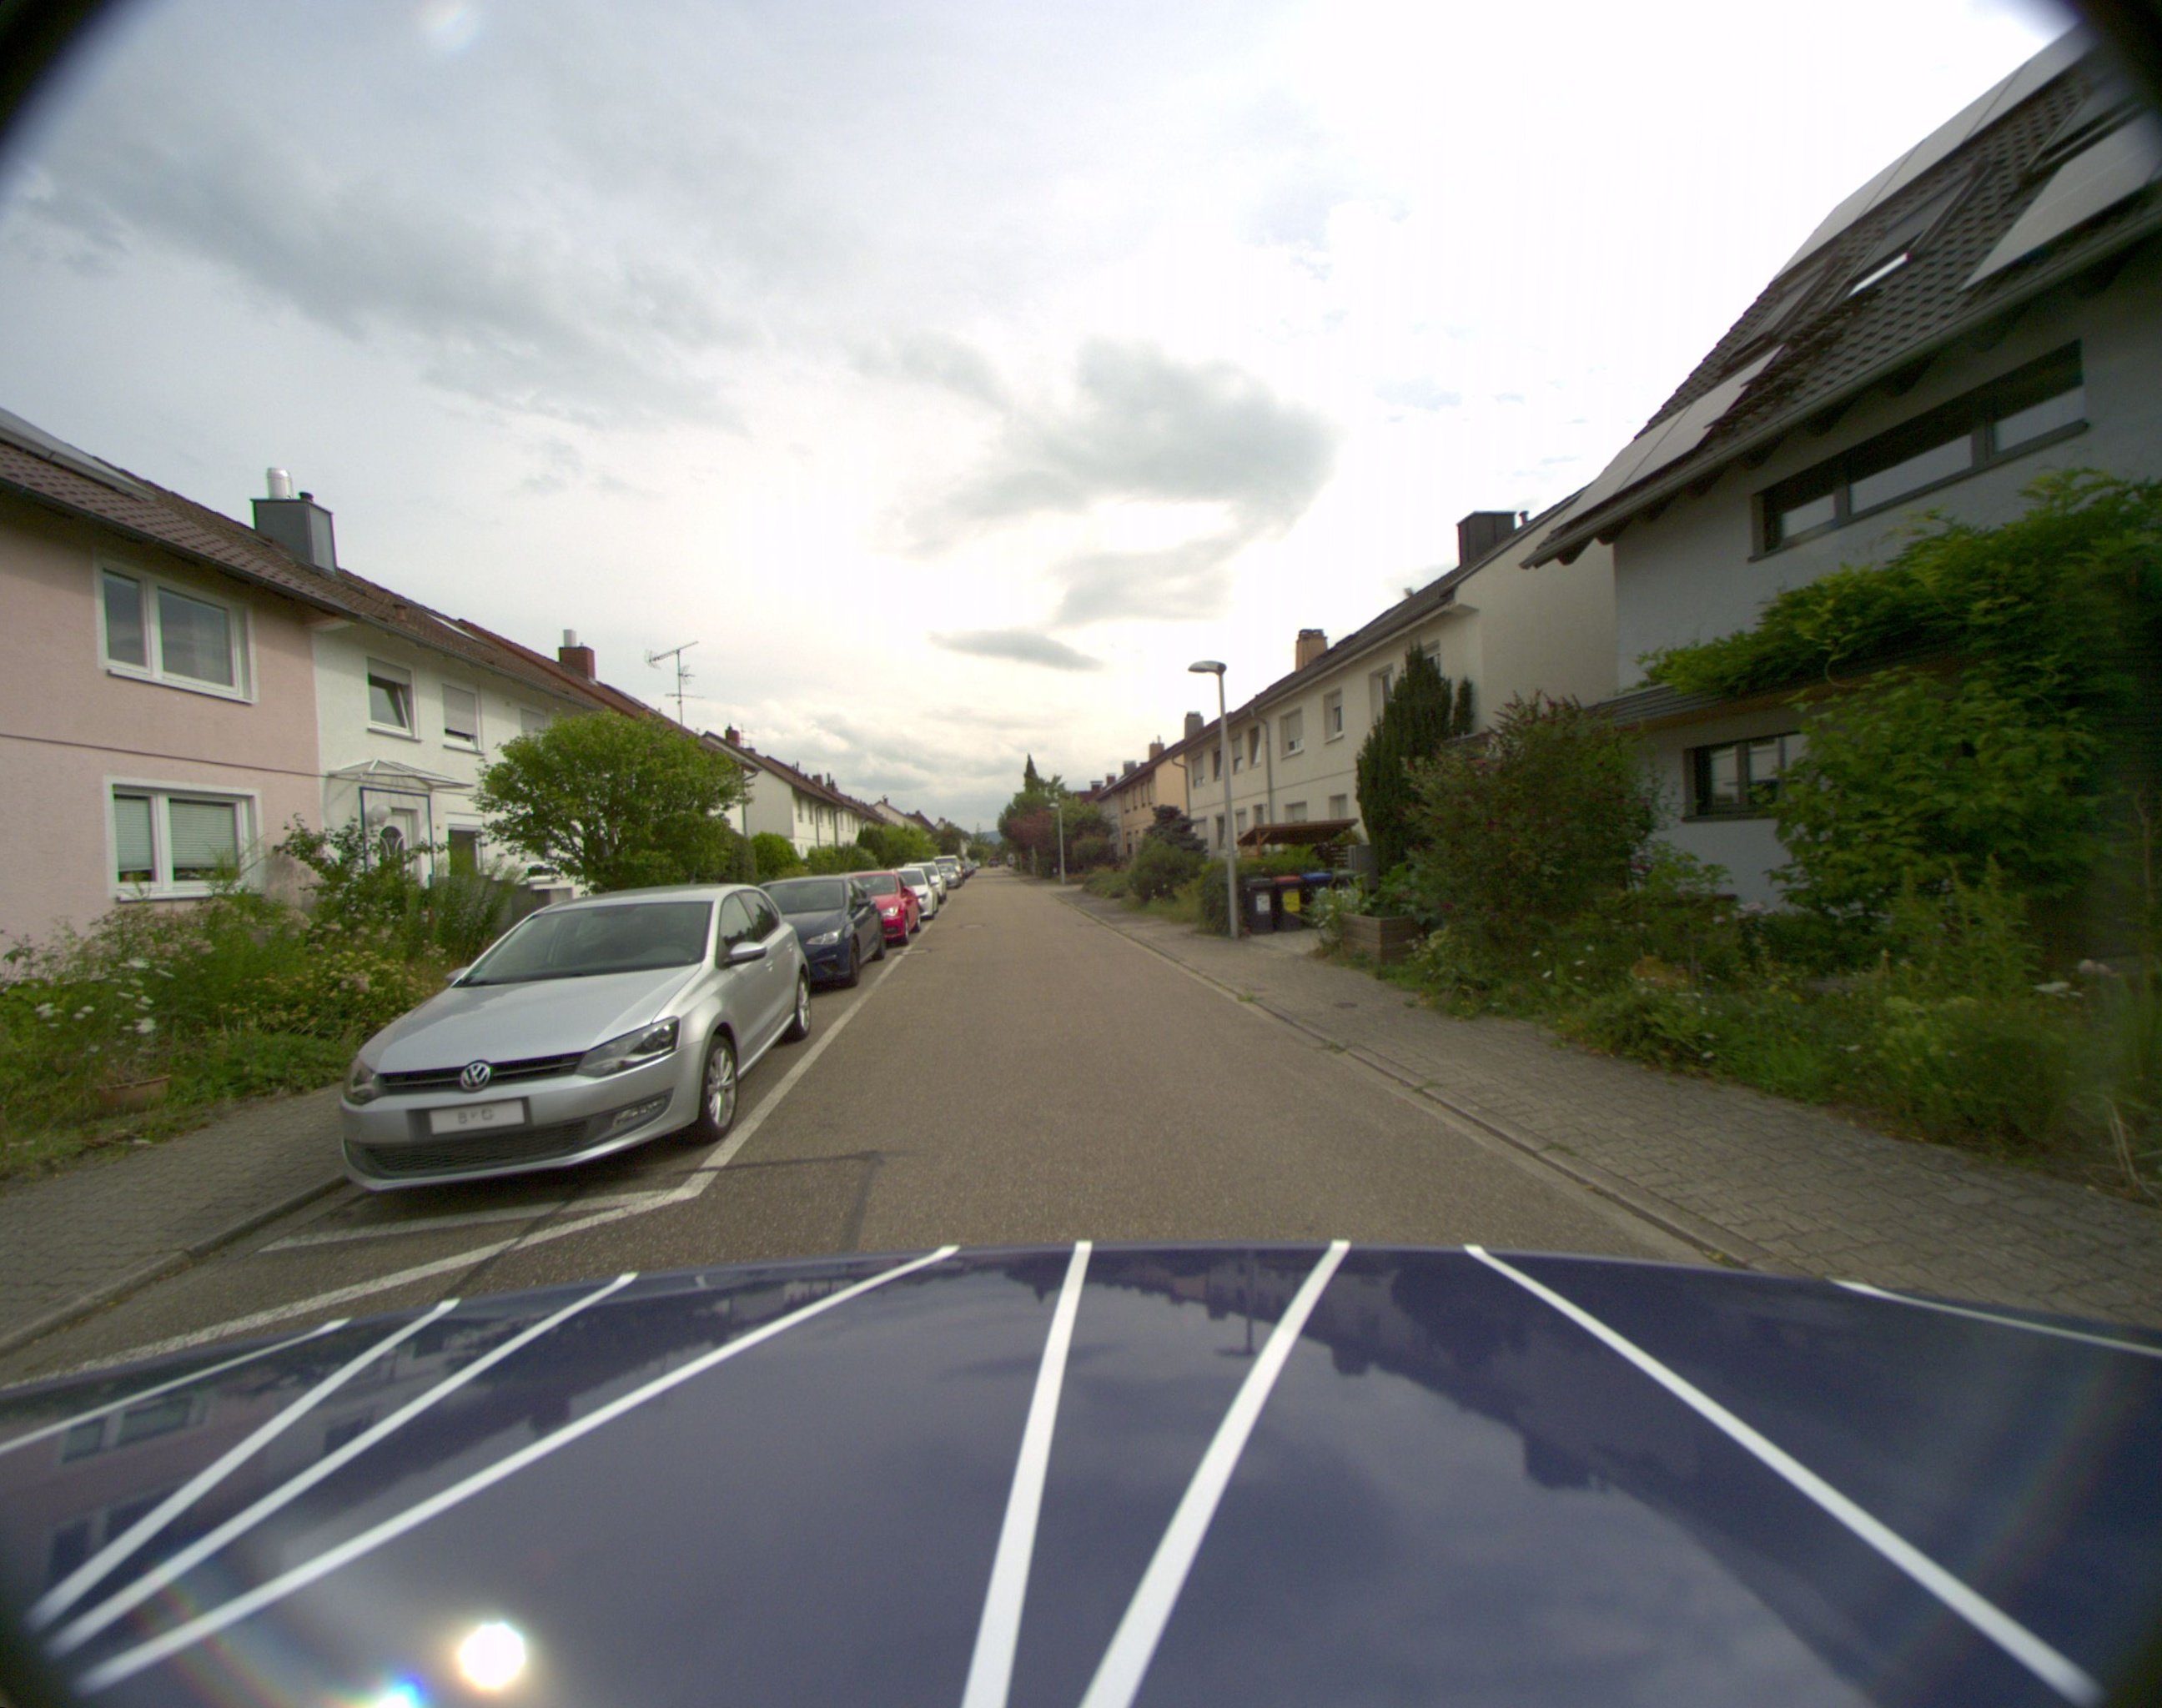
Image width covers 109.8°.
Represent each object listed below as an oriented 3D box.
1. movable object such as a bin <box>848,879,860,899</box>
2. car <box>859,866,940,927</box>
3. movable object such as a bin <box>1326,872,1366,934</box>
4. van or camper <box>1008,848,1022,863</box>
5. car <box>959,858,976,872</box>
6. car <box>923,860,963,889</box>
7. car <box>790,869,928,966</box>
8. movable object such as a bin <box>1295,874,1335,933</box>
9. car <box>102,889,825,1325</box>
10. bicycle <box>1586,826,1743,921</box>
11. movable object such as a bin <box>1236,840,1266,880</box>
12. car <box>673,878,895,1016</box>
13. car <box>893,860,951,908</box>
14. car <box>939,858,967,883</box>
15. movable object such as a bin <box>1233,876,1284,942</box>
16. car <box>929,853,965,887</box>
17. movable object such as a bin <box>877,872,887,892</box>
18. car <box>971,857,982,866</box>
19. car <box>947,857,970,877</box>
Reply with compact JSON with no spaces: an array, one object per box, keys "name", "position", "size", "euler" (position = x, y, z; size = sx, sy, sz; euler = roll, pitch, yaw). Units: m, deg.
[{"name":"movable object such as a bin","position":[-10.701,1.646,35.799],"size":[0.432,0.916,0.464],"euler":[-4,1,-12]},{"name":"car","position":[-4.974,1.097,21.421],"size":[1.844,1.404,4.633],"euler":[-2,0,-9]},{"name":"movable object such as a bin","position":[4.454,0.818,12.788],"size":[0.449,0.998,0.467],"euler":[-2,1,-6]},{"name":"van or camper","position":[-12.525,0.254,143.033],"size":[2.348,2.719,5.744],"euler":[-3,0,-6]},{"name":"car","position":[-12.960,1.287,87.237],"size":[1.754,1.458,4.645],"euler":[-3,0,-7]},{"name":"car","position":[-7.799,1.139,43.327],"size":[1.906,1.451,4.127],"euler":[-2,0,-6]},{"name":"car","position":[-4.282,1.133,15.449],"size":[1.779,1.427,4.823],"euler":[-5,1,-7]},{"name":"movable object such as a bin","position":[3.943,0.823,12.821],"size":[0.468,0.950,0.467],"euler":[-3,1,-6]},{"name":"car","position":[-3.141,1.087,5.186],"size":[1.871,1.408,4.249],"euler":[-3,0,-9]},{"name":"bicycle","position":[8.884,0.286,11.580],"size":[2.096,1.339,0.489],"euler":[-2,1,-5]},{"name":"movable object such as a bin","position":[5.442,0.180,24.337],"size":[0.698,1.232,0.734],"euler":[-2,0,-7]},{"name":"car","position":[-3.833,1.101,10.637],"size":[1.778,1.348,4.263],"euler":[-2,0,-6]},{"name":"car","position":[-5.869,1.058,28.421],"size":[1.719,1.535,3.971],"euler":[-5,0,-8]},{"name":"car","position":[-8.995,1.117,53.353],"size":[1.816,1.641,4.406],"euler":[-2,0,-10]},{"name":"movable object such as a bin","position":[2.974,0.908,12.765],"size":[0.604,1.021,0.664],"euler":[-2,1,-6]},{"name":"car","position":[-8.477,0.993,48.382],"size":[2.027,1.936,4.744],"euler":[-2,0,-9]},{"name":"movable object such as a bin","position":[-9.453,1.317,36.116],"size":[0.409,0.916,0.420],"euler":[-2,1,-12]},{"name":"car","position":[-20.866,1.448,151.852],"size":[2.000,1.589,3.996],"euler":[-3,0,-10]},{"name":"car","position":[-10.834,1.101,67.396],"size":[1.873,1.644,4.461],"euler":[-3,0,-9]}]
